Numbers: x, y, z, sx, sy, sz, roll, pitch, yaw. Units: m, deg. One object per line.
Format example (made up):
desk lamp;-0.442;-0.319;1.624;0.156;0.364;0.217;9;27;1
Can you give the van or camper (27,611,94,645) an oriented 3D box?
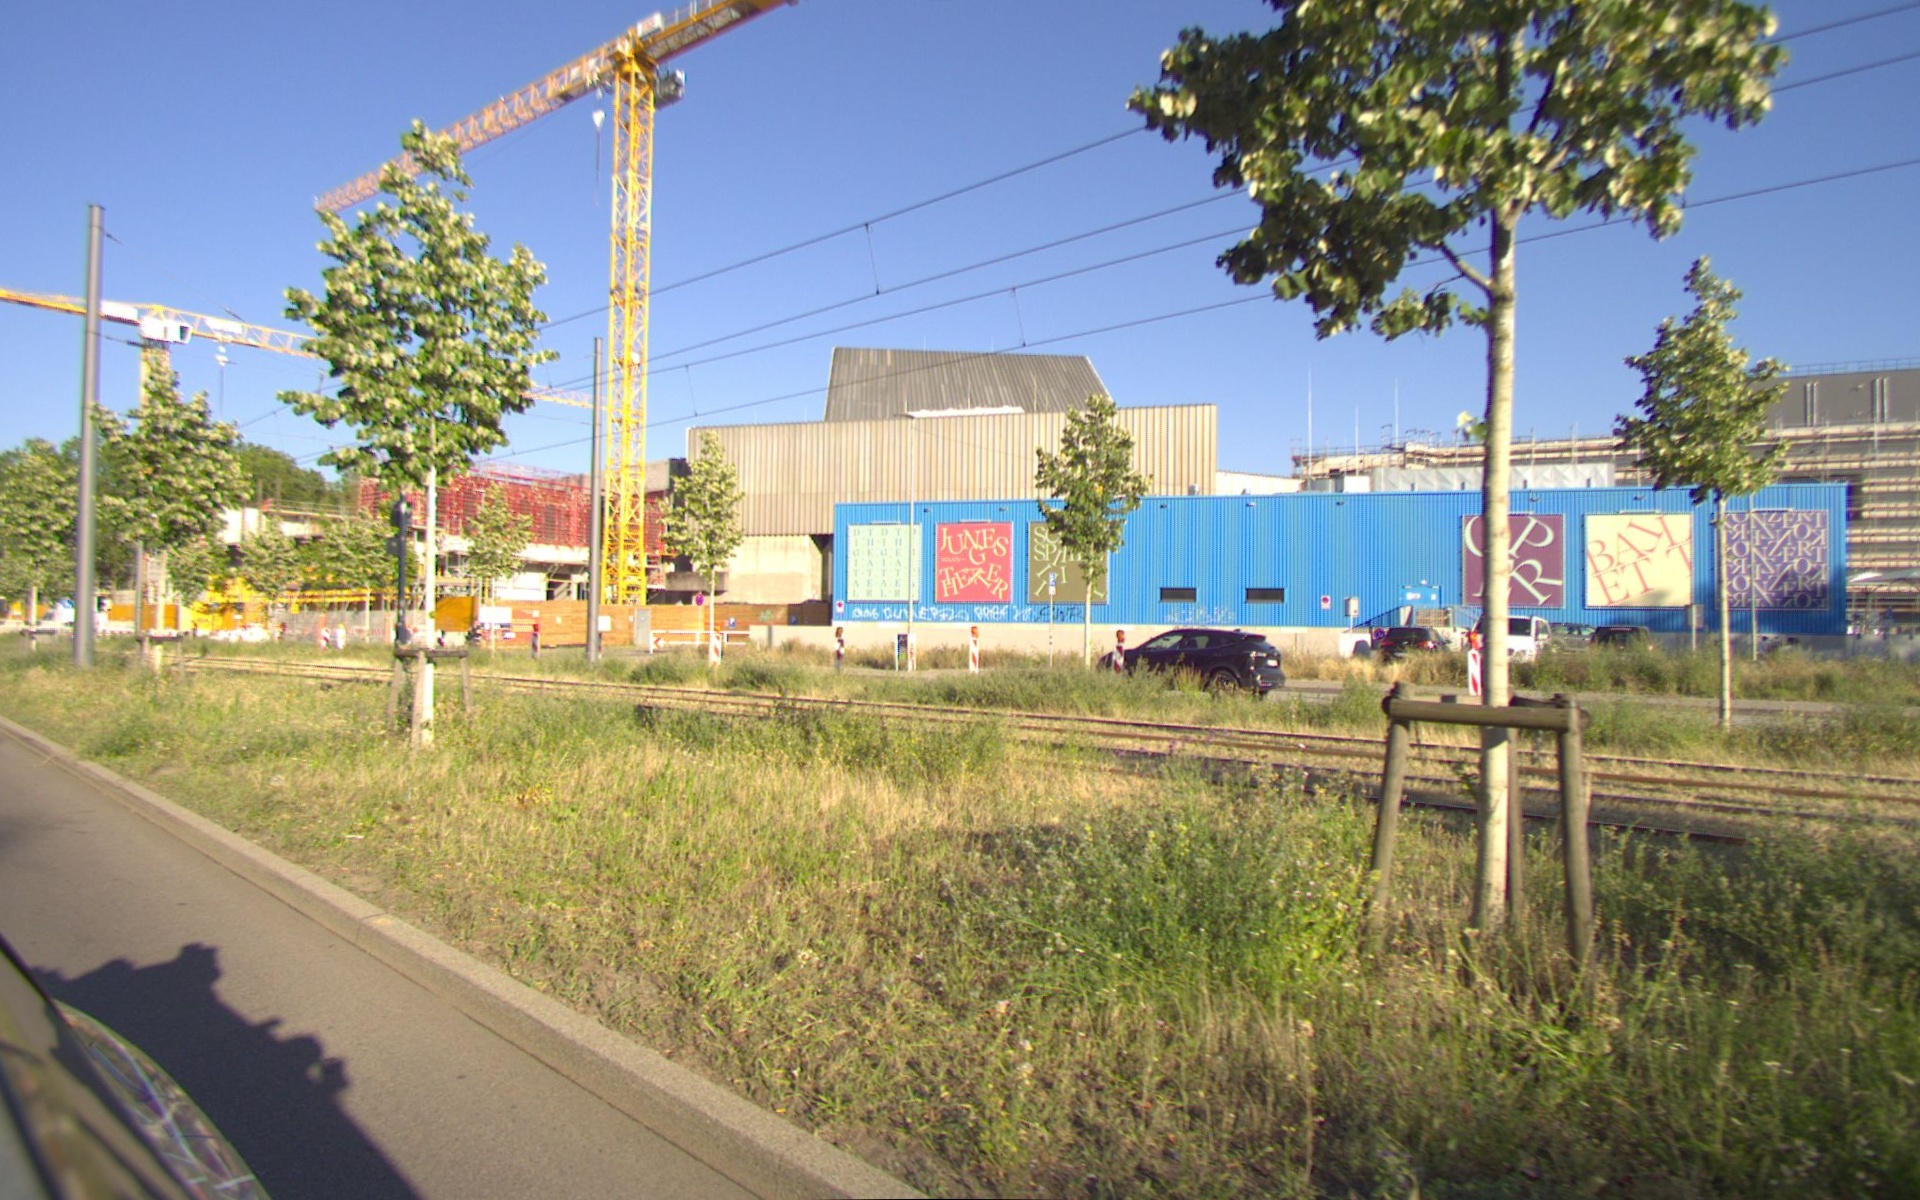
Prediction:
van or camper;-70.567;2.203;79.387;7.183;2.529;2.202;-1;-5;35

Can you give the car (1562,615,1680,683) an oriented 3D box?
car;18.593;1.324;28.360;2.123;1.730;5.173;-1;-2;40

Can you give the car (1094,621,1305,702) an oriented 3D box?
car;5.401;1.328;23.095;4.268;1.663;1.973;-1;-2;41

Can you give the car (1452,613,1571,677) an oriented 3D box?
car;16.587;1.308;30.287;2.123;1.730;5.173;-1;-2;40

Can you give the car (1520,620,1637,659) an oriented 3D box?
car;27.486;1.746;45.120;4.188;1.648;1.404;0;-2;17

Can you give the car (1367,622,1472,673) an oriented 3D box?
car;14.544;1.460;31.924;1.999;1.496;3.946;-1;-2;40
